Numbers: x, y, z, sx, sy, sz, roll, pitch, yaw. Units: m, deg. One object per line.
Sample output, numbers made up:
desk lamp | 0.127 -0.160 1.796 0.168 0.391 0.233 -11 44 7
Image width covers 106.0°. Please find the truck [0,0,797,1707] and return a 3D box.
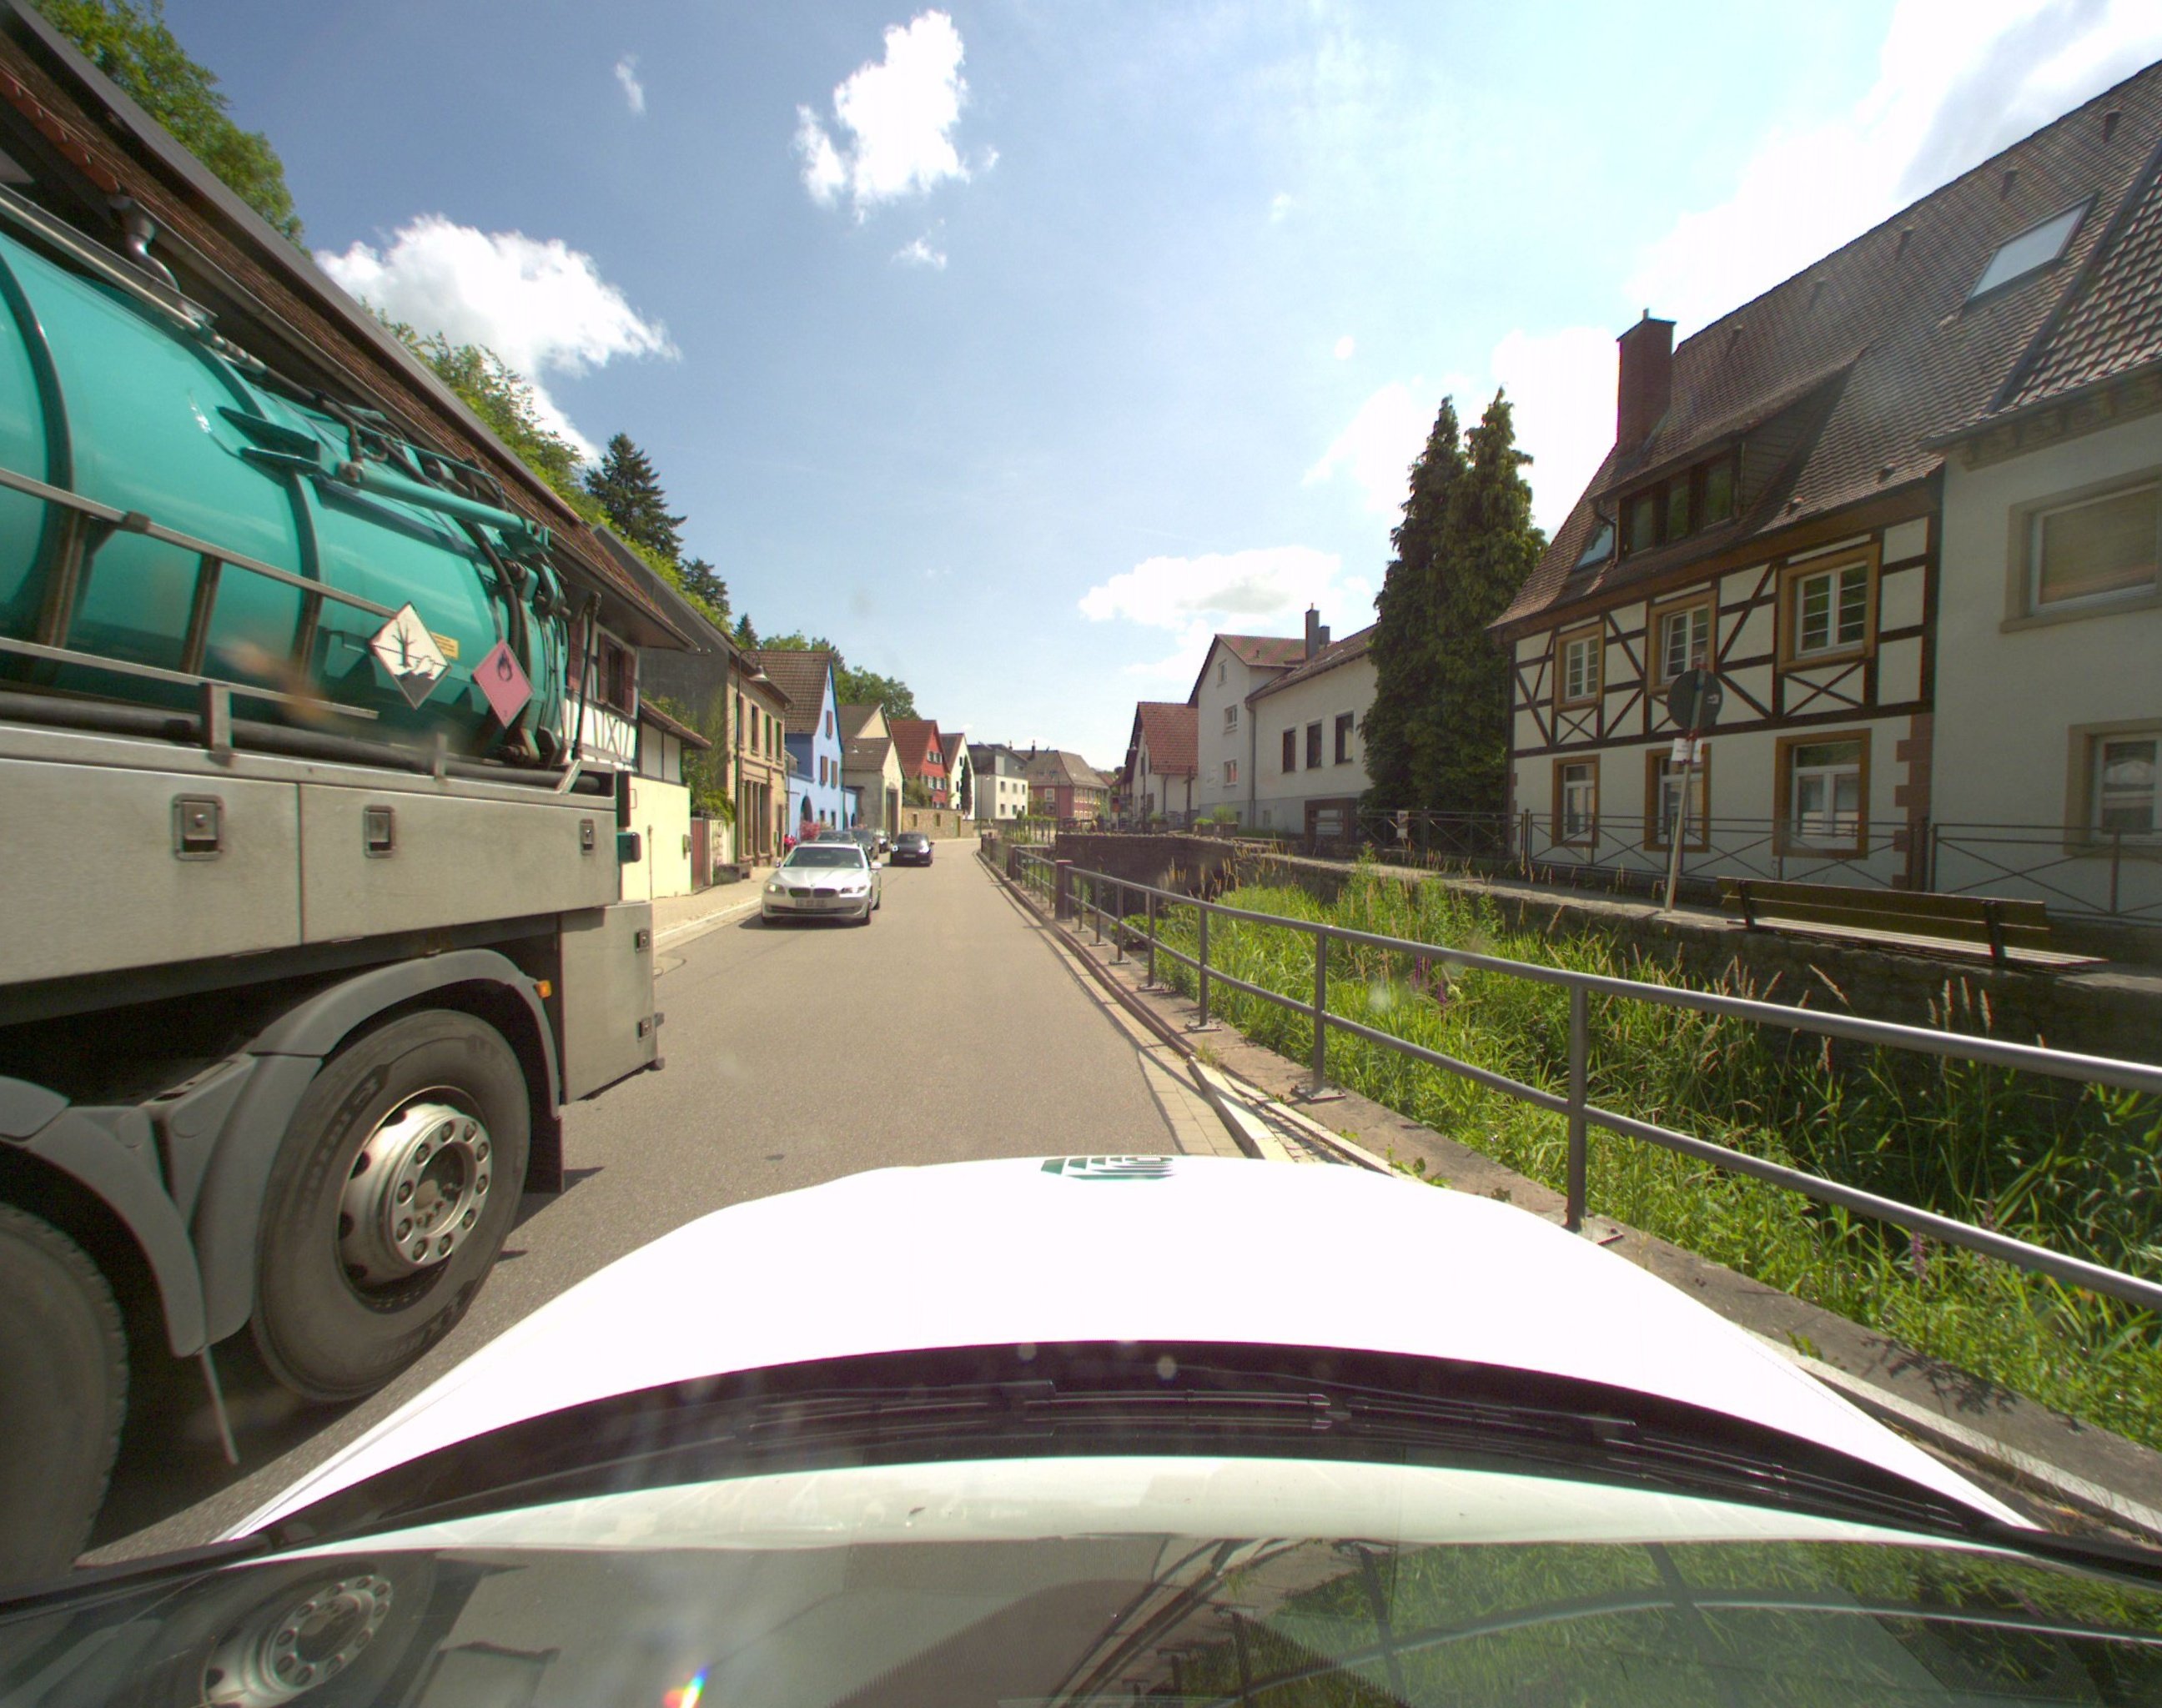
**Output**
truck | -2.910 -0.361 0.610 2.406 3.658 9.556 -2 0 -3

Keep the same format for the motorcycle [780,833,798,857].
motorcycle | -12.925 -0.395 36.087 0.418 1.001 1.852 5 1 -11

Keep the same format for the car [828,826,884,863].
car | -10.529 -0.516 38.367 1.884 1.463 4.657 3 2 -8

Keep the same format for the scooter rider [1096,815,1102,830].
scooter rider | 2.043 -3.549 92.632 0.641 1.731 0.552 1 1 -9

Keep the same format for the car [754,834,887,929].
car | -4.911 0.418 15.969 1.896 1.500 4.597 2 1 -11

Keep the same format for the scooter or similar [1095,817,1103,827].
scooter or similar | 2.039 -3.649 92.717 0.641 1.142 1.806 -1 2 -9

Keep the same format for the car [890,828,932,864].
car | -7.475 -0.365 36.102 1.699 1.465 4.420 2 1 -11

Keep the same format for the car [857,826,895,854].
car | -12.205 -0.879 48.665 1.715 1.529 3.848 -1 2 -7

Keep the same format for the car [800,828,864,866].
car | -10.147 -0.319 33.505 1.957 1.465 4.530 1 1 -11
